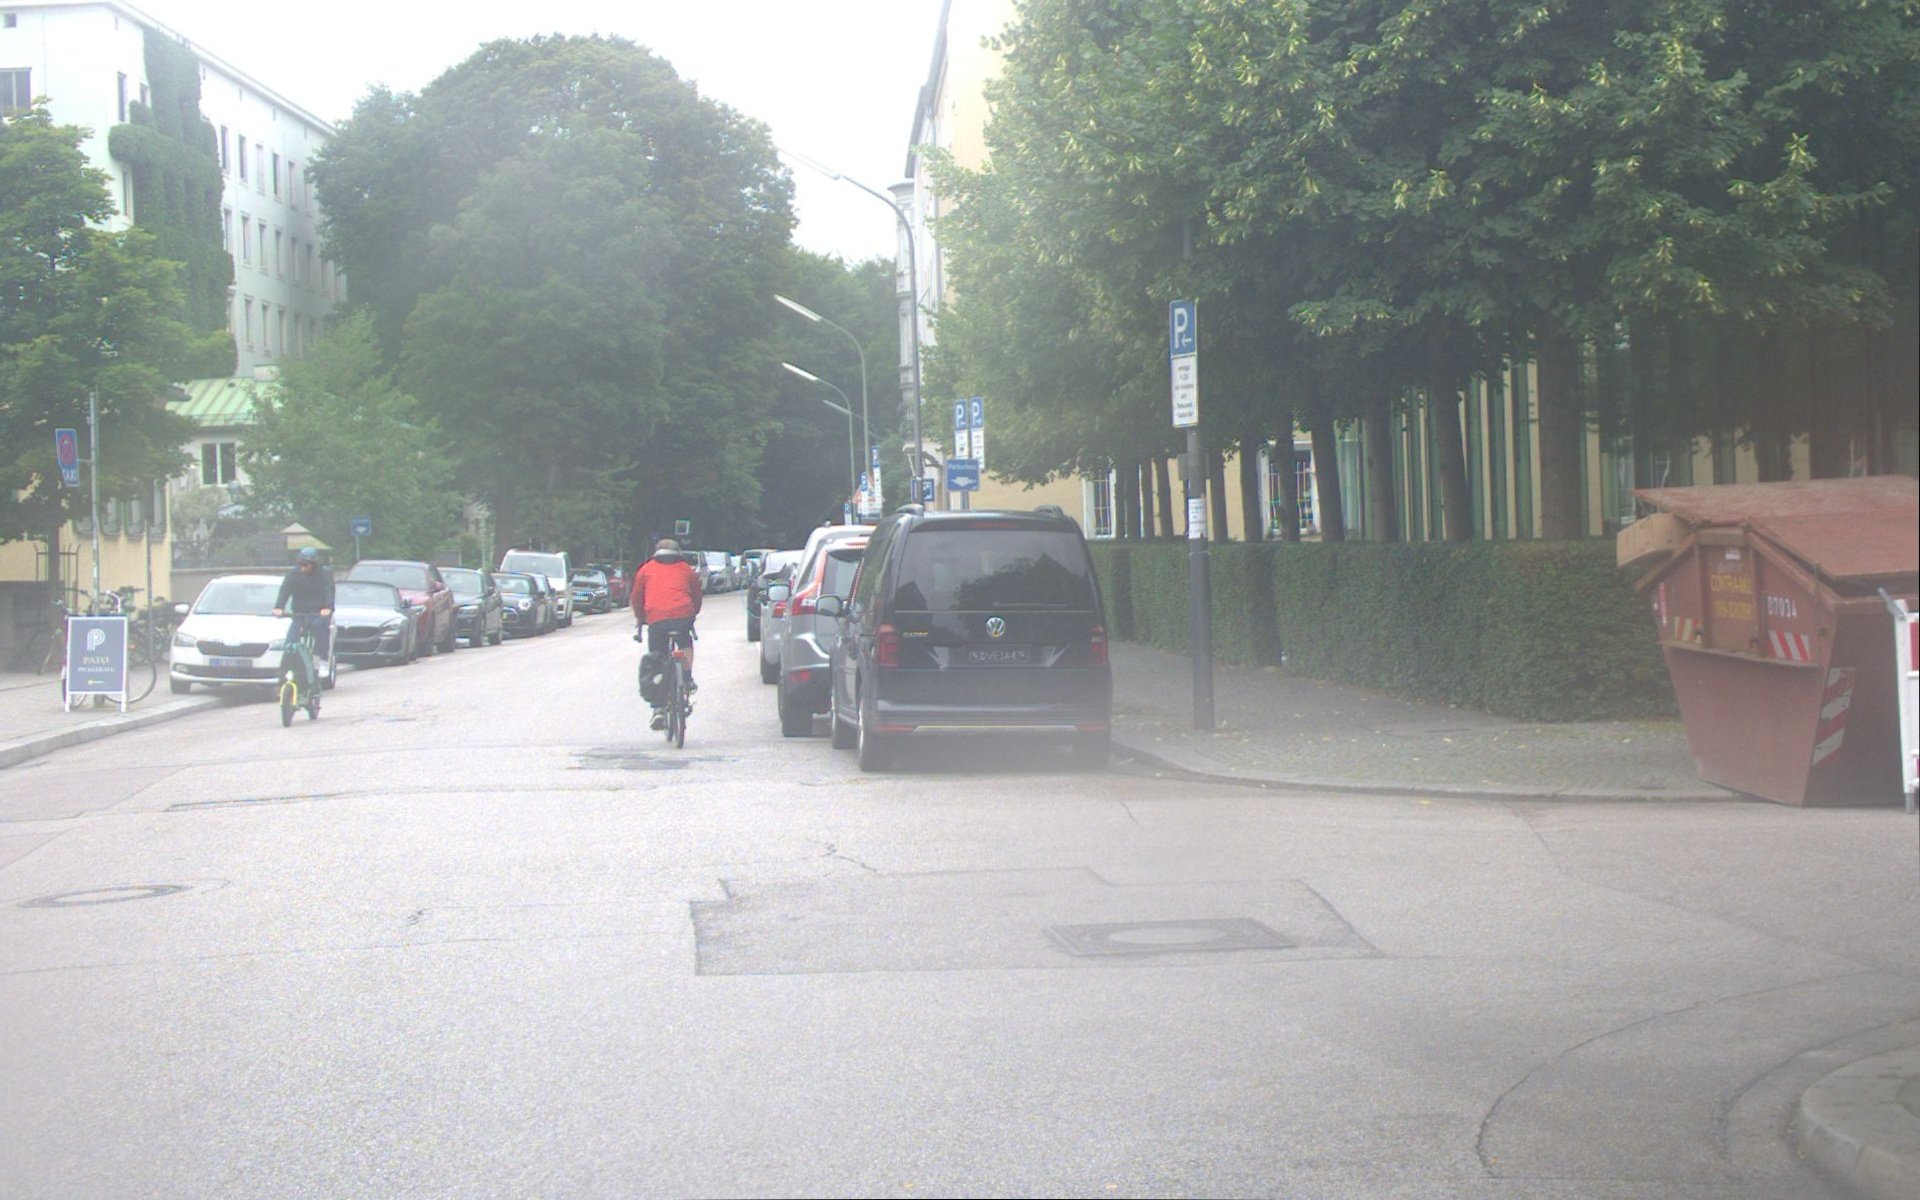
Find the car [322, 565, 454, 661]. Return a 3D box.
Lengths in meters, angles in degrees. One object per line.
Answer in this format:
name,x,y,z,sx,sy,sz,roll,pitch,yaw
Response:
car,-10.089,0.230,60.882,1.993,1.597,4.001,-1,0,-5

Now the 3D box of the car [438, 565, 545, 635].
car,-10.701,-0.021,78.769,1.993,1.481,4.001,-2,1,-2

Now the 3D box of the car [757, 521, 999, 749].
car,-0.788,0.242,29.916,1.863,1.787,4.510,-2,1,-4

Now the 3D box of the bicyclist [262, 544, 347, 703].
bicyclist,-6.644,0.227,34.889,0.743,1.570,0.977,-2,1,-7

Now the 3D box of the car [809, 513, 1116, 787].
car,-0.068,0.298,25.140,1.760,1.817,4.140,-1,1,-6

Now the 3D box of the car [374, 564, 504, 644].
car,-10.248,0.049,67.876,1.993,1.481,4.000,1,1,-1

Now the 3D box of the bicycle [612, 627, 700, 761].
bicycle,-2.387,0.724,27.159,0.621,1.001,2.140,-2,0,-4

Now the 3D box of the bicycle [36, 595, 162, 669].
bicycle,-12.402,0.458,49.524,1.614,1.001,0.623,-2,-1,-34

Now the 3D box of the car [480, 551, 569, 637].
car,-11.032,-0.174,87.366,1.993,2.072,4.001,-2,1,-4

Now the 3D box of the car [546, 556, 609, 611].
car,-12.232,-0.552,110.131,1.810,1.677,4.001,-2,1,-4

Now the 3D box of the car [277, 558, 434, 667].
car,-9.756,0.162,55.800,1.993,1.643,4.656,-1,1,-4

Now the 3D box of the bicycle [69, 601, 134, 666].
bicycle,-13.606,0.525,54.520,0.621,1.001,1.619,-1,-1,-1

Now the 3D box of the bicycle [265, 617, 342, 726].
bicycle,-6.642,0.707,34.841,0.621,1.001,2.140,-2,1,-8

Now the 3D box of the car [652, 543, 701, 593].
car,-12.195,-1.403,148.048,1.993,2.091,4.001,1,1,-4

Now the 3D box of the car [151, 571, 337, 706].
car,-8.945,0.446,43.225,1.733,1.576,3.788,1,1,-4

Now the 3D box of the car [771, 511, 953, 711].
car,-1.076,0.070,36.126,1.749,1.936,4.228,-2,1,-3

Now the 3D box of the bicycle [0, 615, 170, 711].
bicycle,-9.827,0.693,38.593,0.622,1.001,2.137,2,1,27

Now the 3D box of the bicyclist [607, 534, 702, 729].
bicyclist,-2.412,0.252,27.228,0.671,1.492,1.095,-2,-1,-4

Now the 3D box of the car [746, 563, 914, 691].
car,-1.627,0.291,41.636,1.863,1.435,4.256,-1,1,-4

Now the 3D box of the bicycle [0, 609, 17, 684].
bicycle,-12.621,0.602,42.691,1.613,0.922,0.651,-2,-1,-31
